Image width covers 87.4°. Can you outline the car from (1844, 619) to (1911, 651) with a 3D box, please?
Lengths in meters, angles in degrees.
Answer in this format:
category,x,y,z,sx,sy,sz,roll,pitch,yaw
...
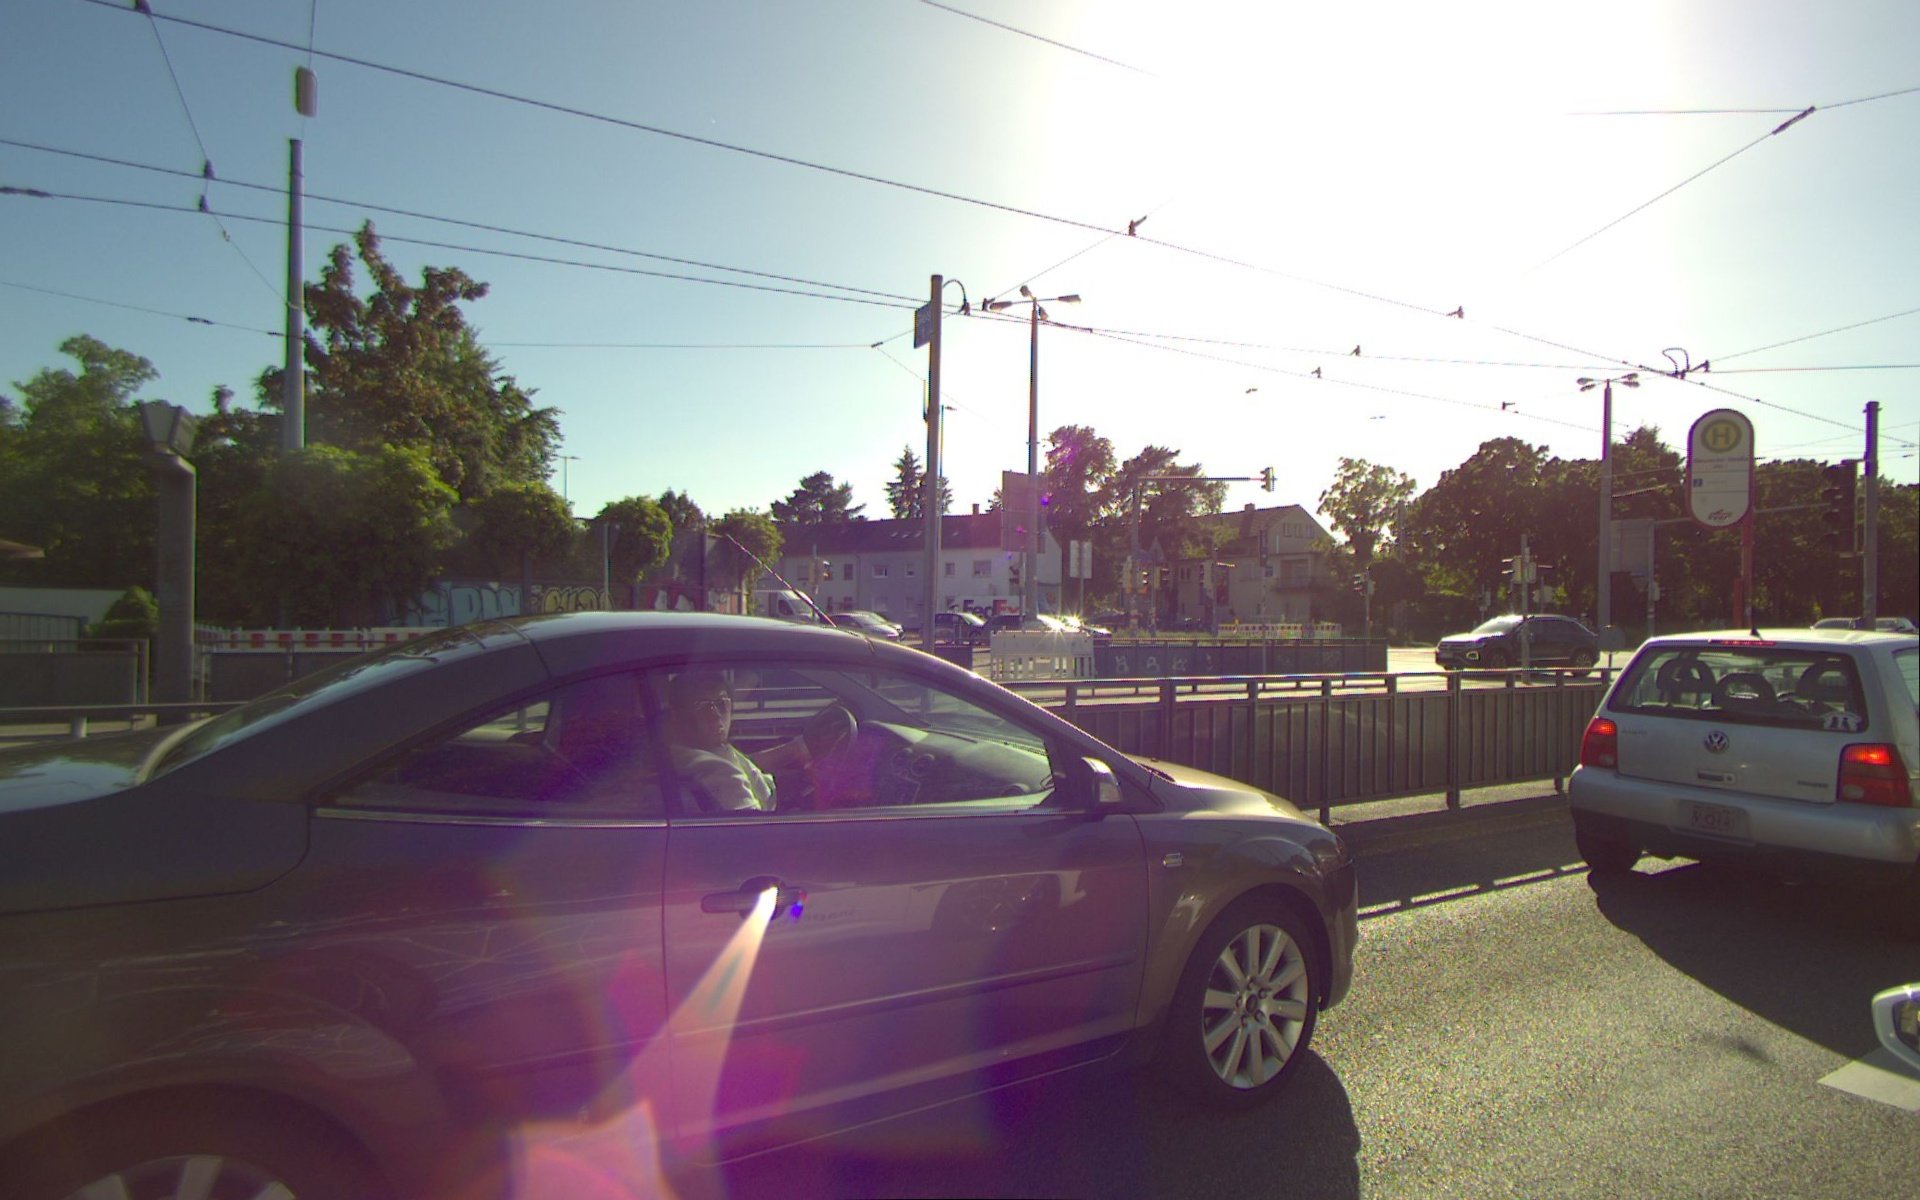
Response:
category,x,y,z,sx,sy,sz,roll,pitch,yaw
car,47.324,1.771,51.787,4.245,1.568,1.819,1,-1,-37

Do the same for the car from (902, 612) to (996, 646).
category,x,y,z,sx,sy,sz,roll,pitch,yaw
car,-0.516,1.307,45.811,4.104,1.451,1.589,0,-1,34

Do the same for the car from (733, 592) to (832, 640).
category,x,y,z,sx,sy,sz,roll,pitch,yaw
car,-9.315,0.819,52.542,4.995,2.434,2.132,0,-1,34

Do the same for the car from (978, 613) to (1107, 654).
category,x,y,z,sx,sy,sz,roll,pitch,yaw
car,3.183,1.273,39.210,4.754,1.517,1.781,0,-1,34

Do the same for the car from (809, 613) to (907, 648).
category,x,y,z,sx,sy,sz,roll,pitch,yaw
car,-4.523,1.317,44.380,4.104,1.451,1.846,0,-1,34

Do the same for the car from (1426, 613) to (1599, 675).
category,x,y,z,sx,sy,sz,roll,pitch,yaw
car,14.480,1.139,26.397,3.914,1.564,1.589,1,-1,-12

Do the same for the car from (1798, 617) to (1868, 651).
category,x,y,z,sx,sy,sz,roll,pitch,yaw
car,42.440,1.647,48.799,3.963,1.568,1.819,1,-1,-37

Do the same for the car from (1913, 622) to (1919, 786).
category,x,y,z,sx,sy,sz,roll,pitch,yaw
car,10.782,0.996,9.448,4.038,1.476,1.611,2,0,-31

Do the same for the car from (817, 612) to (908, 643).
category,x,y,z,sx,sy,sz,roll,pitch,yaw
car,-4.757,1.318,48.895,4.212,1.451,1.788,0,-1,34

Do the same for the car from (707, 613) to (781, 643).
category,x,y,z,sx,sy,sz,roll,pitch,yaw
car,-10.475,1.341,48.715,3.552,1.425,1.481,0,-1,35

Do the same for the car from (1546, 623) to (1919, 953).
category,x,y,z,sx,sy,sz,roll,pitch,yaw
car,5.210,0.883,5.962,3.312,1.436,1.611,2,-2,-31

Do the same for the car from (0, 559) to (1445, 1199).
category,x,y,z,sx,sy,sz,roll,pitch,yaw
car,-0.682,0.705,2.956,4.284,1.469,1.766,1,-1,-31

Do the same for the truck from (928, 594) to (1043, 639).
category,x,y,z,sx,sy,sz,roll,pitch,yaw
truck,1.485,0.982,60.357,6.695,2.599,1.998,0,-1,26

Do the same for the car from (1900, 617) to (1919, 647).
category,x,y,z,sx,sy,sz,roll,pitch,yaw
car,54.283,1.790,56.054,4.712,1.626,1.978,1,1,-38
